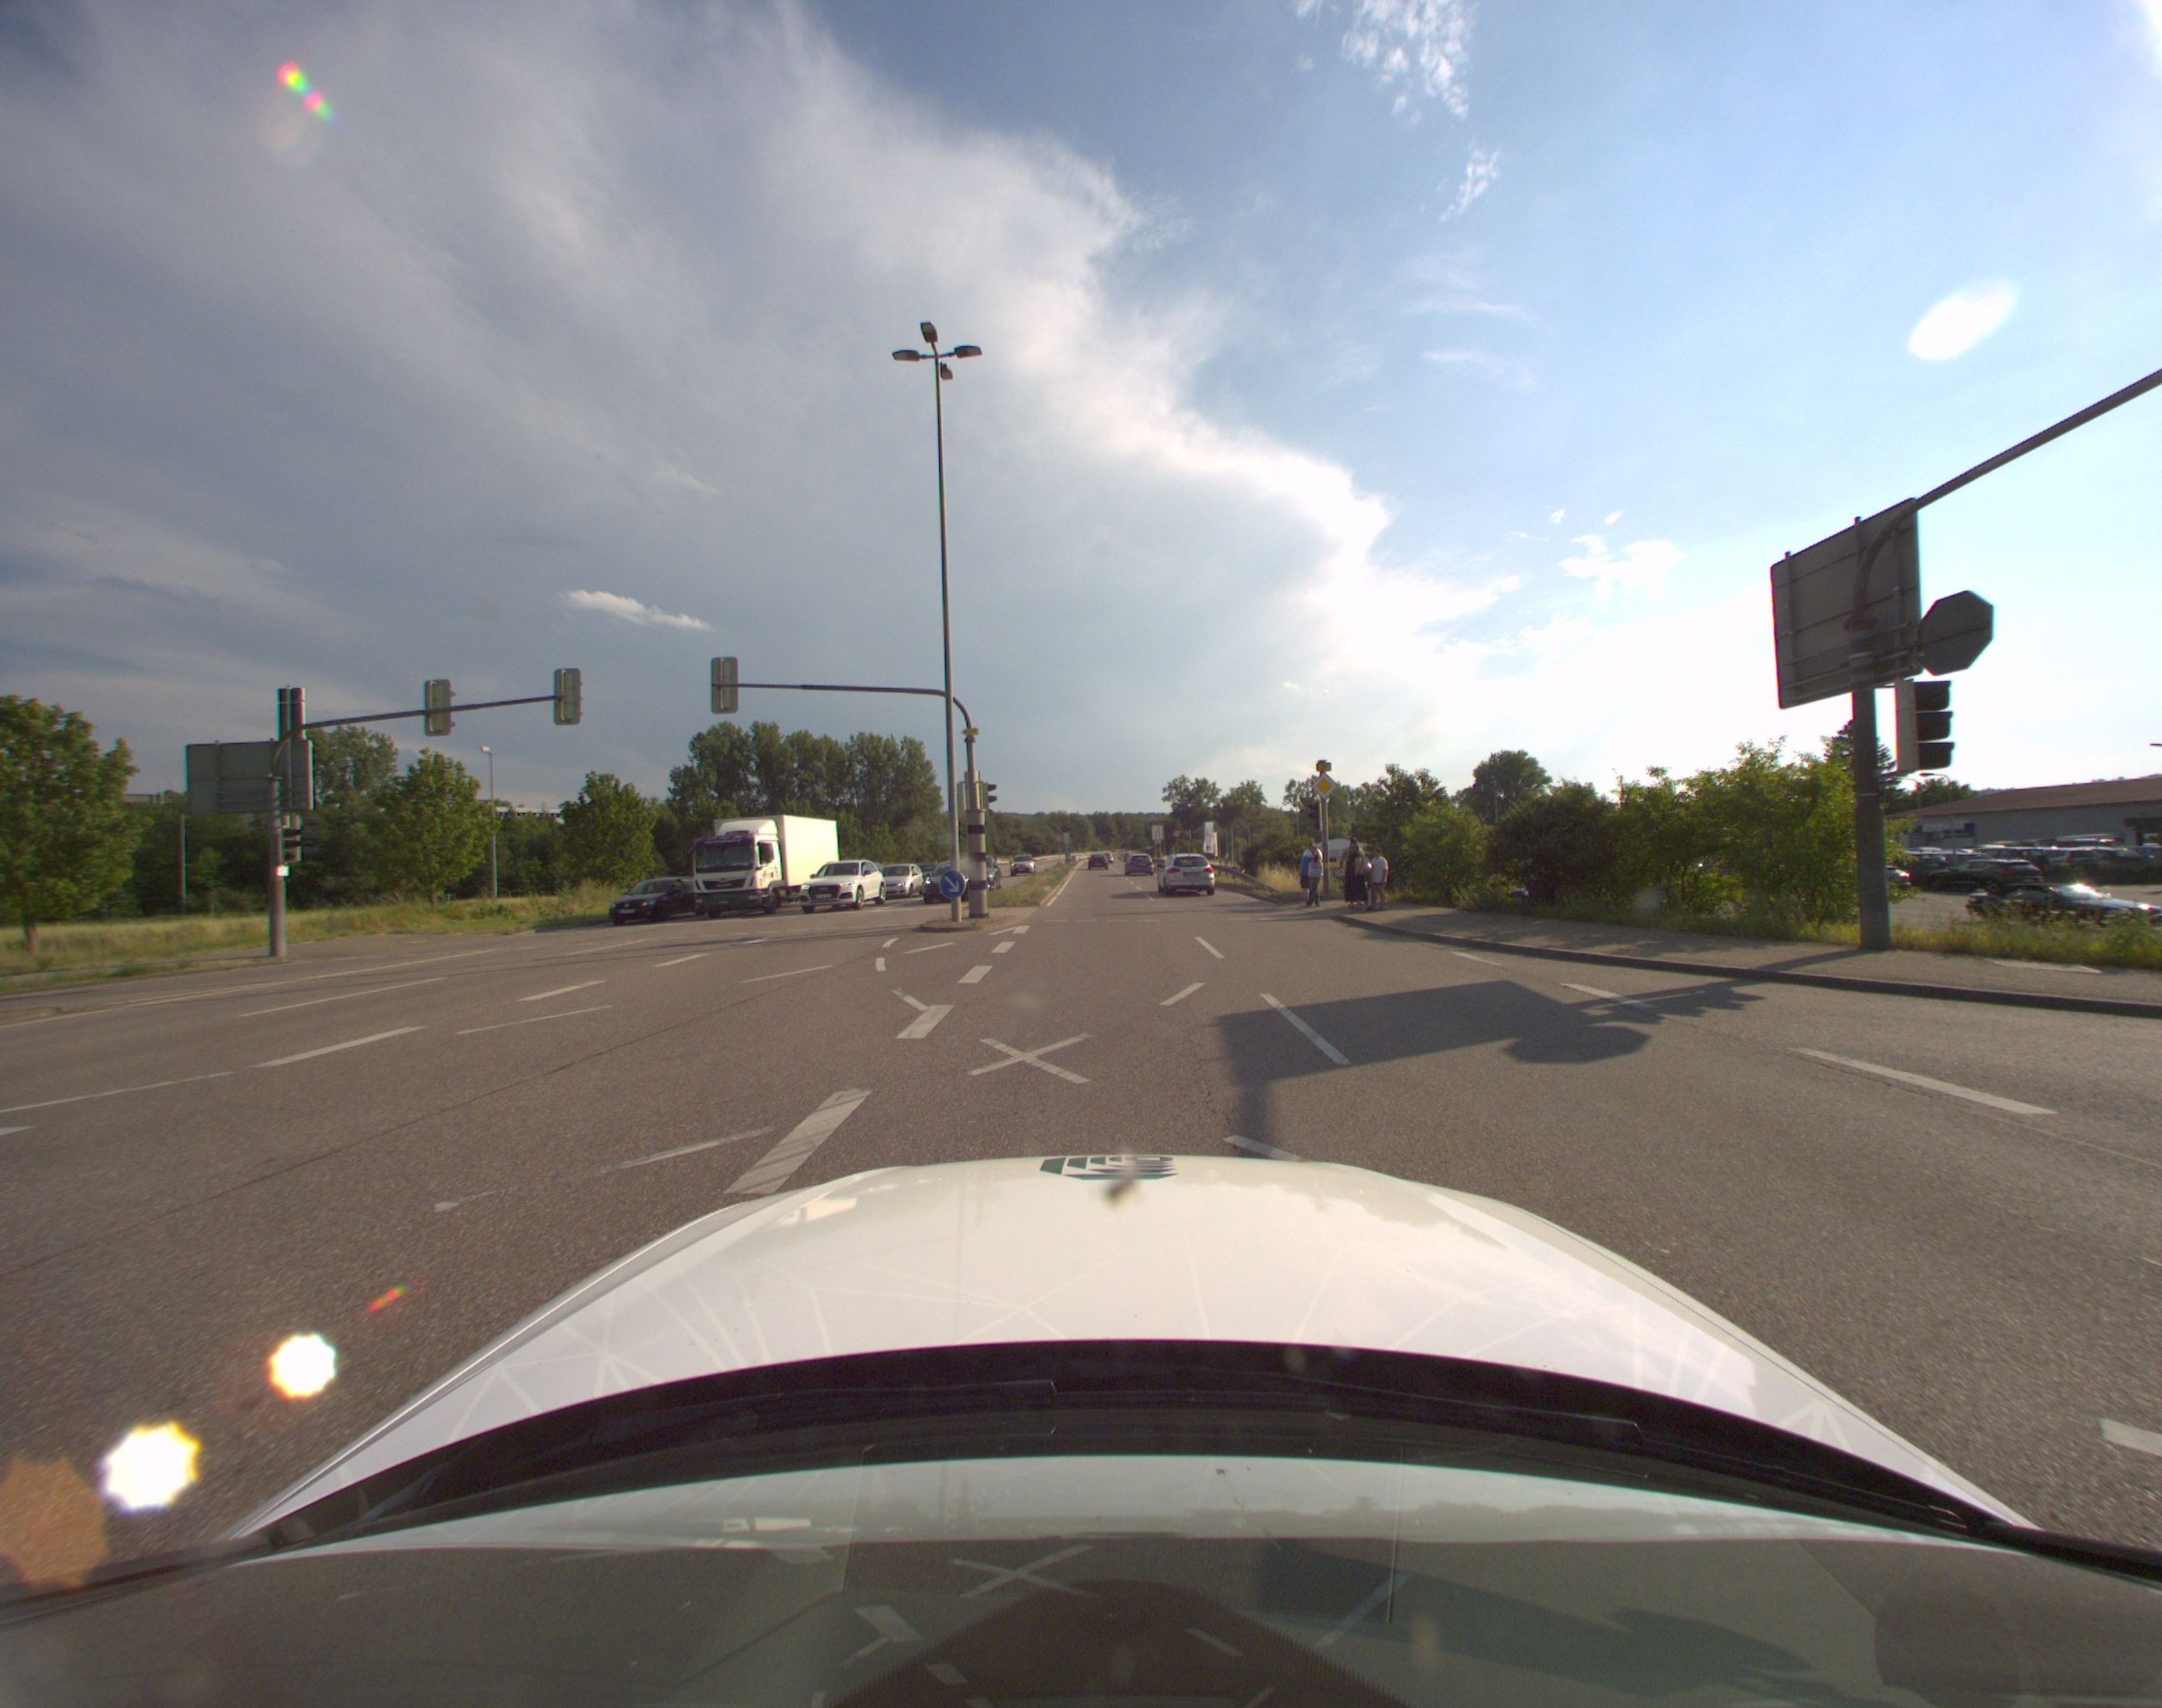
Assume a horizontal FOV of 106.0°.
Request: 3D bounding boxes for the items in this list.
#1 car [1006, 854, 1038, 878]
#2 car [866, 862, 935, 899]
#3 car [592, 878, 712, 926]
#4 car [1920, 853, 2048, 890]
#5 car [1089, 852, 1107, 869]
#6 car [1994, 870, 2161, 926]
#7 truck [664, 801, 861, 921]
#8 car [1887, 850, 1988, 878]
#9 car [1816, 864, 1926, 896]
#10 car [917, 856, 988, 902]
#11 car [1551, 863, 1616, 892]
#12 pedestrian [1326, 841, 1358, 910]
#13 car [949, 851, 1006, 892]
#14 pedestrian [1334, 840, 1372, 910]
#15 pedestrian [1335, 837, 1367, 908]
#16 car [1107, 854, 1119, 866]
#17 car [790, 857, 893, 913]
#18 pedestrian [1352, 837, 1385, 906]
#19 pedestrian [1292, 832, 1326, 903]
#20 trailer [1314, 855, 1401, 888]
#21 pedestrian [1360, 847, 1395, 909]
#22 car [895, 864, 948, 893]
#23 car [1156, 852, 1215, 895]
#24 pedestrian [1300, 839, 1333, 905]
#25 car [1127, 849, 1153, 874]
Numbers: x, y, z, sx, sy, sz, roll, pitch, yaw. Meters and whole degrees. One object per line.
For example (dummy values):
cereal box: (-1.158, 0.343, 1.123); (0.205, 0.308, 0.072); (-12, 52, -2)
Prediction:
car: (-4.050, 0.849, 56.658); (1.774, 1.520, 4.001); (-3, -1, 1)
car: (-7.682, 1.104, 35.090); (1.696, 1.405, 5.081); (-3, -1, 1)
car: (-14.666, 1.612, 28.124); (1.807, 1.376, 4.002); (-4, -1, 2)
car: (45.289, 0.876, 40.987); (1.826, 1.702, 4.129); (-3, -1, 0)
car: (1.515, 0.615, 72.167); (1.486, 1.476, 3.360); (0, -1, 3)
car: (31.561, 1.311, 25.616); (1.586, 1.629, 3.760); (0, -1, 3)
truck: (-11.782, 0.302, 31.697); (2.921, 3.690, 10.504); (-4, -1, 2)
car: (48.404, 0.598, 46.142); (1.717, 1.508, 4.005); (0, -1, 5)
car: (39.333, 1.250, 40.687); (1.718, 1.508, 4.001); (0, -1, 2)
car: (-4.547, 0.881, 29.546); (1.784, 1.466, 4.927); (-2, -1, 0)
car: (26.658, 1.231, 43.338); (1.521, 1.484, 3.591); (-1, -1, 6)
pedestrian: (6.409, 0.529, 20.008); (0.570, 1.678, 0.622); (0, -1, -3)
car: (-4.436, 0.695, 35.557); (1.774, 1.537, 4.572); (-3, 1, 1)
pedestrian: (6.433, 0.495, 19.296); (0.570, 1.615, 0.622); (-3, -1, -3)
pedestrian: (6.877, 0.458, 20.792); (0.528, 1.749, 0.538); (-5, -2, 6)
car: (4.153, 0.826, 105.255); (1.486, 1.476, 3.360); (0, -1, 3)
car: (-8.129, 1.024, 28.156); (1.987, 1.678, 4.807); (-3, -1, 1)
pedestrian: (7.073, 0.434, 20.073); (0.570, 1.678, 0.622); (0, -1, -3)
pedestrian: (6.298, 0.375, 22.574); (0.616, 1.883, 0.861); (-3, -1, 0)
trailer: (27.979, 1.756, 82.812); (7.840, 3.323, 3.364); (0, -1, 6)
pedestrian: (7.051, 0.566, 19.371); (0.570, 1.457, 0.622); (0, -1, -3)
car: (-8.198, 1.230, 42.246); (1.696, 1.283, 4.819); (-3, 0, 1)
car: (3.823, 0.697, 30.279); (1.802, 1.486, 4.001); (0, -1, 2)
pedestrian: (6.306, 0.479, 21.810); (0.592, 1.683, 0.633); (-4, -1, 0)
car: (3.911, 0.520, 54.306); (1.660, 1.574, 4.002); (0, -1, 3)
